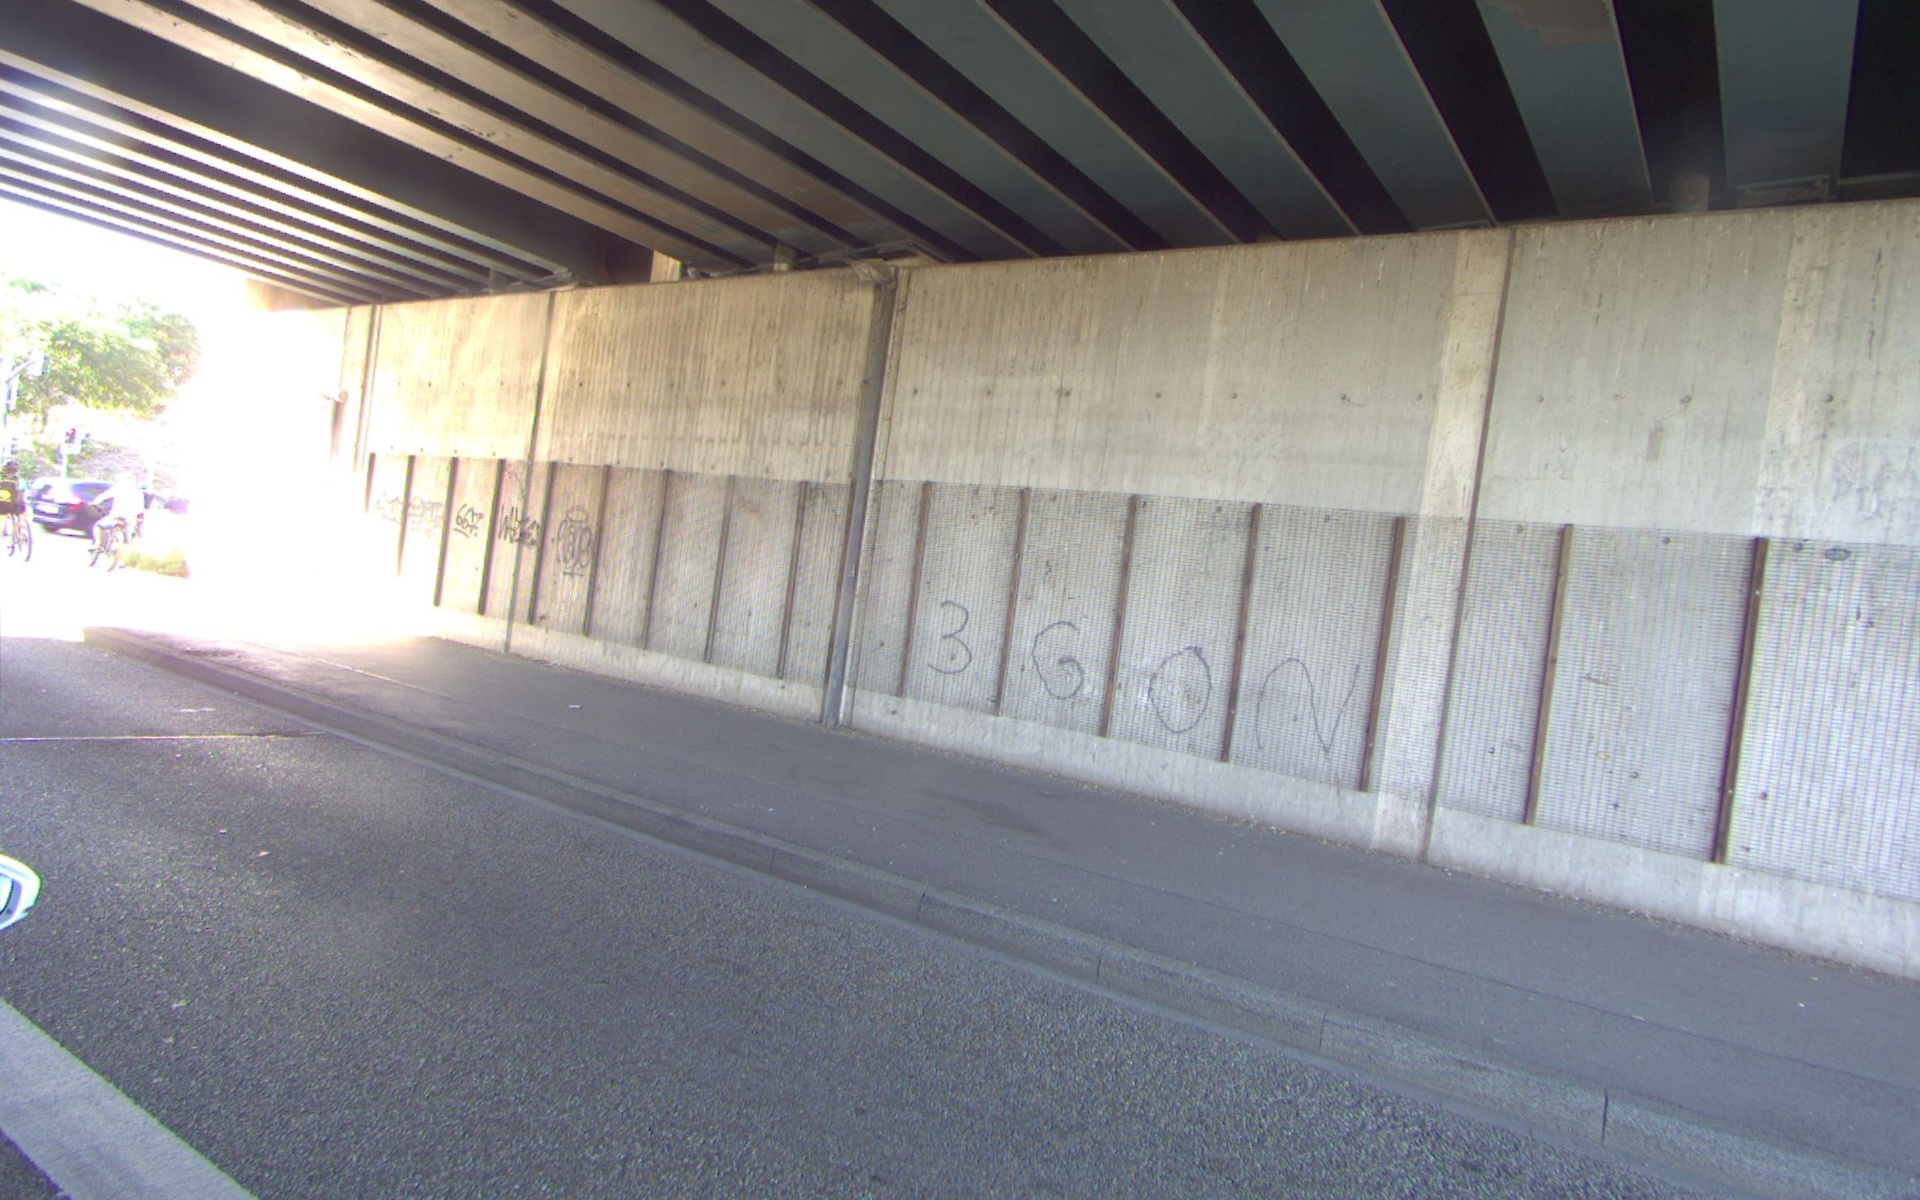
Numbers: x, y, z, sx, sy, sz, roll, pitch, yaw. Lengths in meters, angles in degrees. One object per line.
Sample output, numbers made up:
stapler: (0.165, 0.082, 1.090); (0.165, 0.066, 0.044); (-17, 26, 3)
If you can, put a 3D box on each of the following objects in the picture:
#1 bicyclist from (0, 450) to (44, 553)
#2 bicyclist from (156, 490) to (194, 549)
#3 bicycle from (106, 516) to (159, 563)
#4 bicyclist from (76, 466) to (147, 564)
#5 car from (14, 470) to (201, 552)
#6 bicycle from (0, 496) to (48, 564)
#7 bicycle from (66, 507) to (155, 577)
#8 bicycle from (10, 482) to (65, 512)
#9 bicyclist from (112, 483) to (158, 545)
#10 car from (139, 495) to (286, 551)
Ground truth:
bicyclist: (-16.191, -1.676, 17.049); (0.927, 1.632, 0.593); (6, -1, 32)
bicyclist: (-21.724, -2.226, 27.843); (0.647, 1.499, 0.610); (8, 0, -43)
bicycle: (-21.382, -1.570, 25.973); (2.027, 1.035, 0.671); (6, -2, 42)
bicyclist: (-14.697, -1.471, 17.425); (0.756, 1.566, 0.593); (6, -1, 32)
car: (-25.225, -2.580, 29.977); (1.692, 1.727, 3.985); (7, -1, 8)
bicycle: (-16.211, -1.220, 17.039); (1.721, 1.035, 0.593); (6, -1, 32)
bicycle: (-14.733, -1.008, 17.439); (1.721, 1.035, 0.593); (6, -1, 32)
bicycle: (-42.892, -4.789, 46.790); (0.585, 1.035, 1.744); (6, -2, 40)
bicyclist: (-21.326, -2.226, 26.003); (0.741, 1.491, 0.664); (6, -1, 42)
car: (-31.416, -3.200, 42.394); (1.801, 1.531, 4.548); (6, -3, 39)
